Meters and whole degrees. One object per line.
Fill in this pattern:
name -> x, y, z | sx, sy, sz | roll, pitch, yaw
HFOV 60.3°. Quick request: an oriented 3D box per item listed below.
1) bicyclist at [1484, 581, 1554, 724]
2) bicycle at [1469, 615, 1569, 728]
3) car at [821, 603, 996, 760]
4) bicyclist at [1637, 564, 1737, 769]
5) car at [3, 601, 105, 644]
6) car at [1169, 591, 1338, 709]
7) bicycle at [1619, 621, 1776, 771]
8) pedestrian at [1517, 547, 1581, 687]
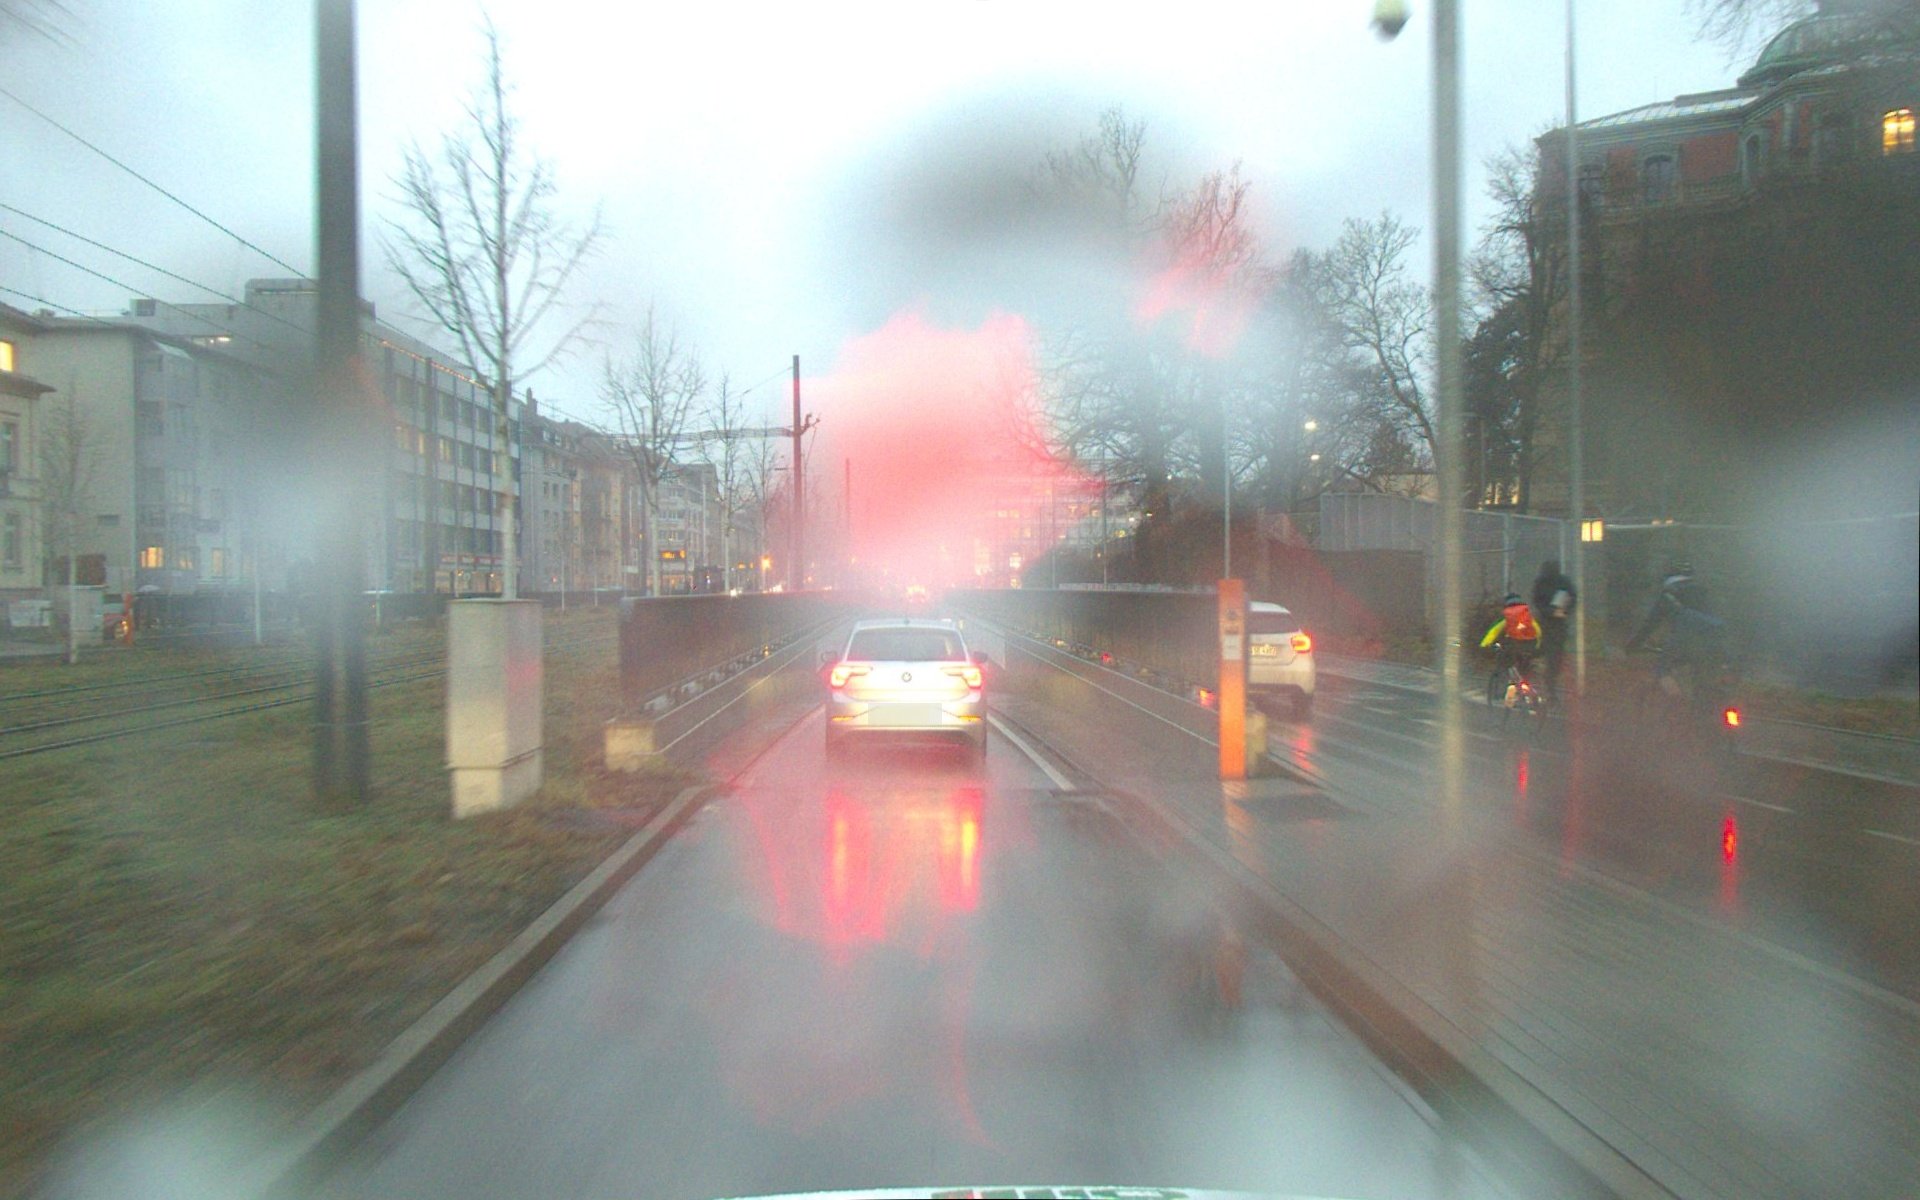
bicyclist -> 6.496, 0.589, 19.249 | 0.490, 1.619, 0.836 | -1, 1, -3
bicycle -> 6.489, 0.801, 19.295 | 0.403, 1.206, 1.947 | -1, 1, -3
car -> -0.506, 0.804, 18.263 | 1.687, 1.505, 4.000 | 1, 0, 0
bicyclist -> 6.561, 0.577, 14.948 | 0.490, 1.798, 0.836 | -1, 1, -3
car -> -33.603, 0.822, 61.474 | 1.770, 1.461, 3.924 | -1, 1, -4
car -> 4.107, 0.661, 23.736 | 1.687, 1.505, 4.000 | 1, 0, 0
bicycle -> 6.608, 0.819, 14.926 | 0.403, 1.206, 2.028 | -1, 1, -3
pedestrian -> 8.214, 0.229, 23.084 | 0.521, 1.912, 0.900 | -1, 0, -3
